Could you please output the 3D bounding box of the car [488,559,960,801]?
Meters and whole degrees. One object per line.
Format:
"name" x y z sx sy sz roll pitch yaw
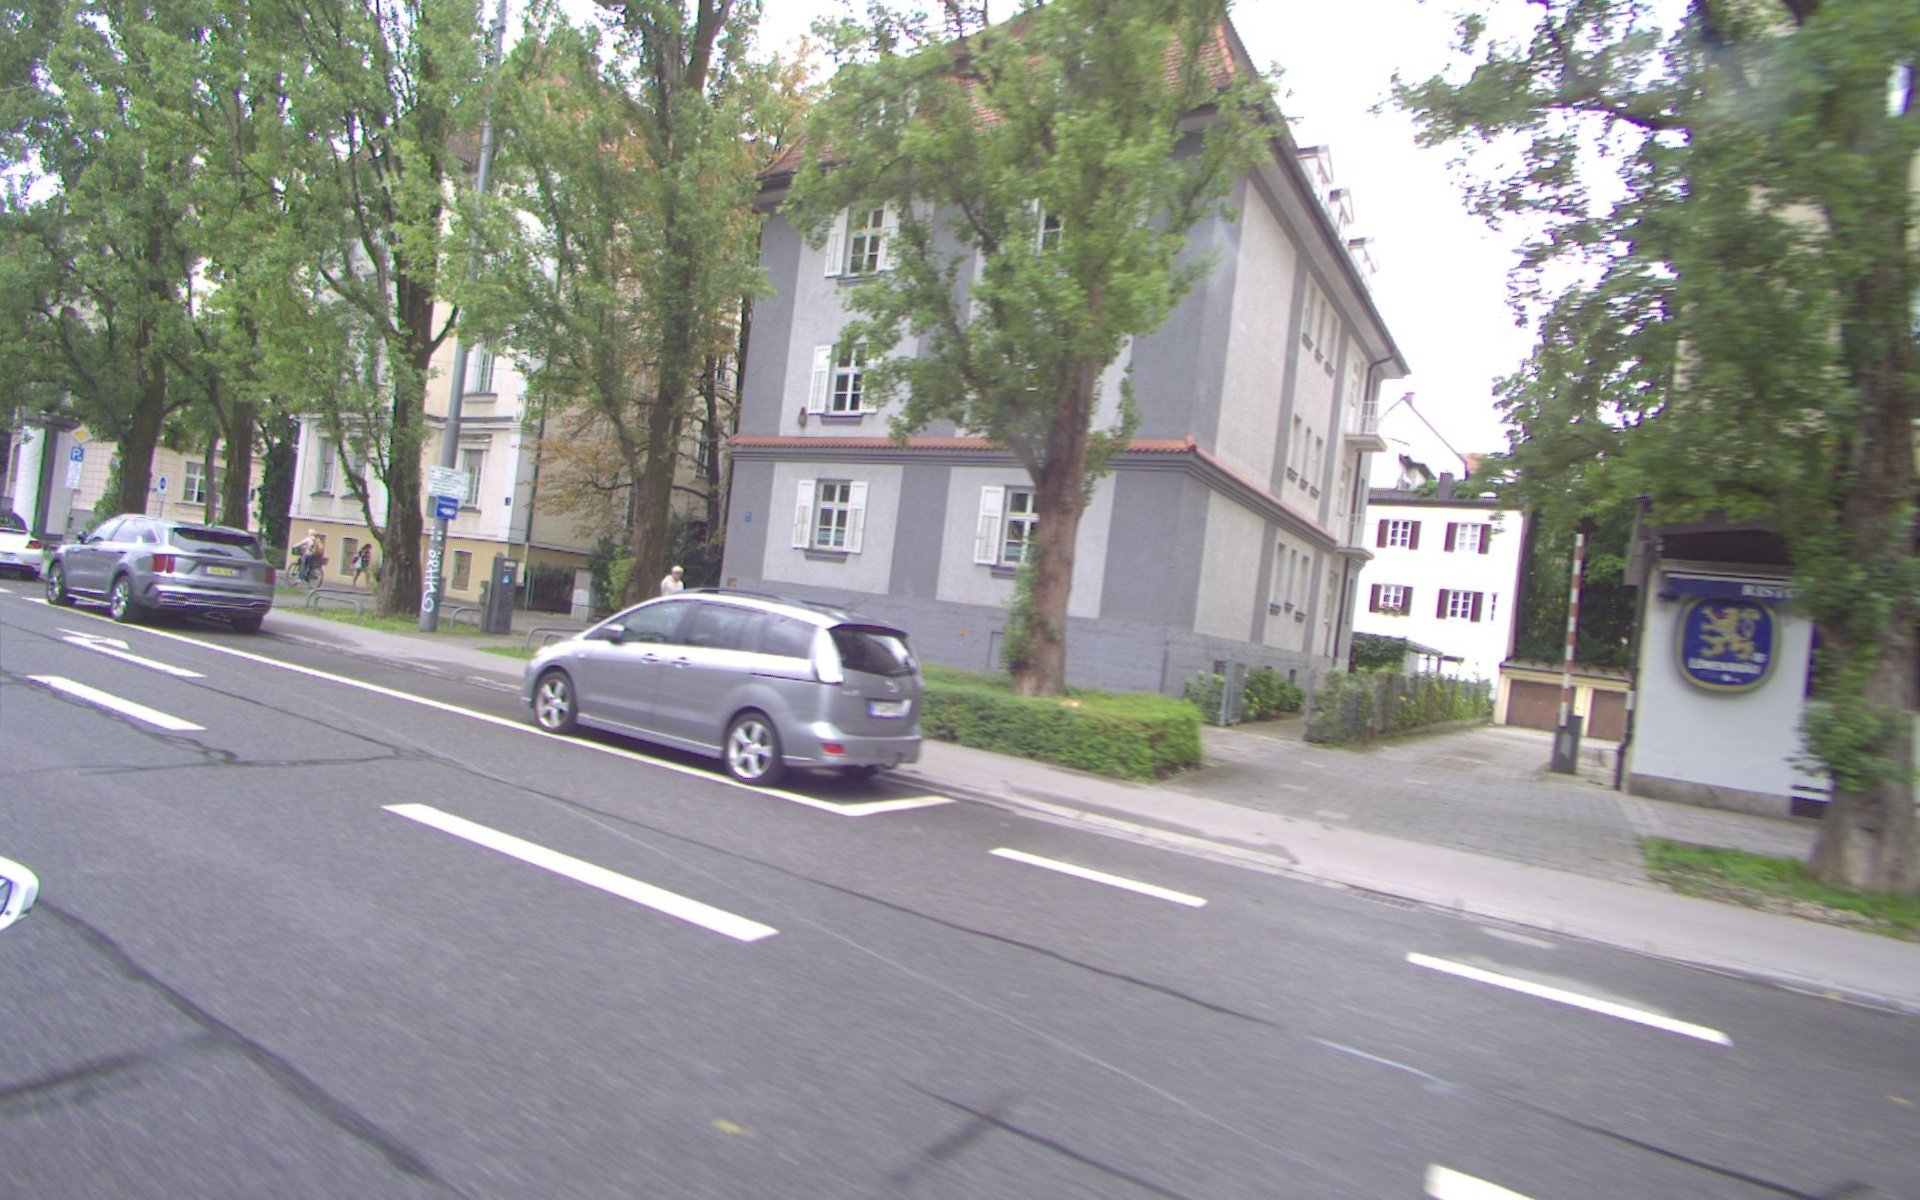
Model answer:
"car" -2.442 0.666 10.026 4.471 1.632 1.802 6 -1 31

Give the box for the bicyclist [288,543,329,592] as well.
"bicyclist" -19.162 -0.951 29.592 0.694 1.331 0.661 7 0 30

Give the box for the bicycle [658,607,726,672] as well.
"bicycle" -4.916 0.718 18.453 1.208 1.000 0.355 9 0 32

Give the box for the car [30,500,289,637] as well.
"car" -13.558 -0.565 16.967 4.622 1.764 1.802 6 -1 31

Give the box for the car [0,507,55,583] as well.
"car" -21.938 -1.386 22.225 3.934 1.526 1.802 6 -1 32

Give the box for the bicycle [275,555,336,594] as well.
"bicycle" -19.299 -0.755 29.657 1.871 0.934 0.653 7 0 30

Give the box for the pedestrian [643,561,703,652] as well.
"pedestrian" -5.982 0.133 20.944 0.810 1.759 0.592 9 0 32

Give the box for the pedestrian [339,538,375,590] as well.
"pedestrian" -19.795 -1.182 33.037 0.726 1.566 0.553 9 0 31
